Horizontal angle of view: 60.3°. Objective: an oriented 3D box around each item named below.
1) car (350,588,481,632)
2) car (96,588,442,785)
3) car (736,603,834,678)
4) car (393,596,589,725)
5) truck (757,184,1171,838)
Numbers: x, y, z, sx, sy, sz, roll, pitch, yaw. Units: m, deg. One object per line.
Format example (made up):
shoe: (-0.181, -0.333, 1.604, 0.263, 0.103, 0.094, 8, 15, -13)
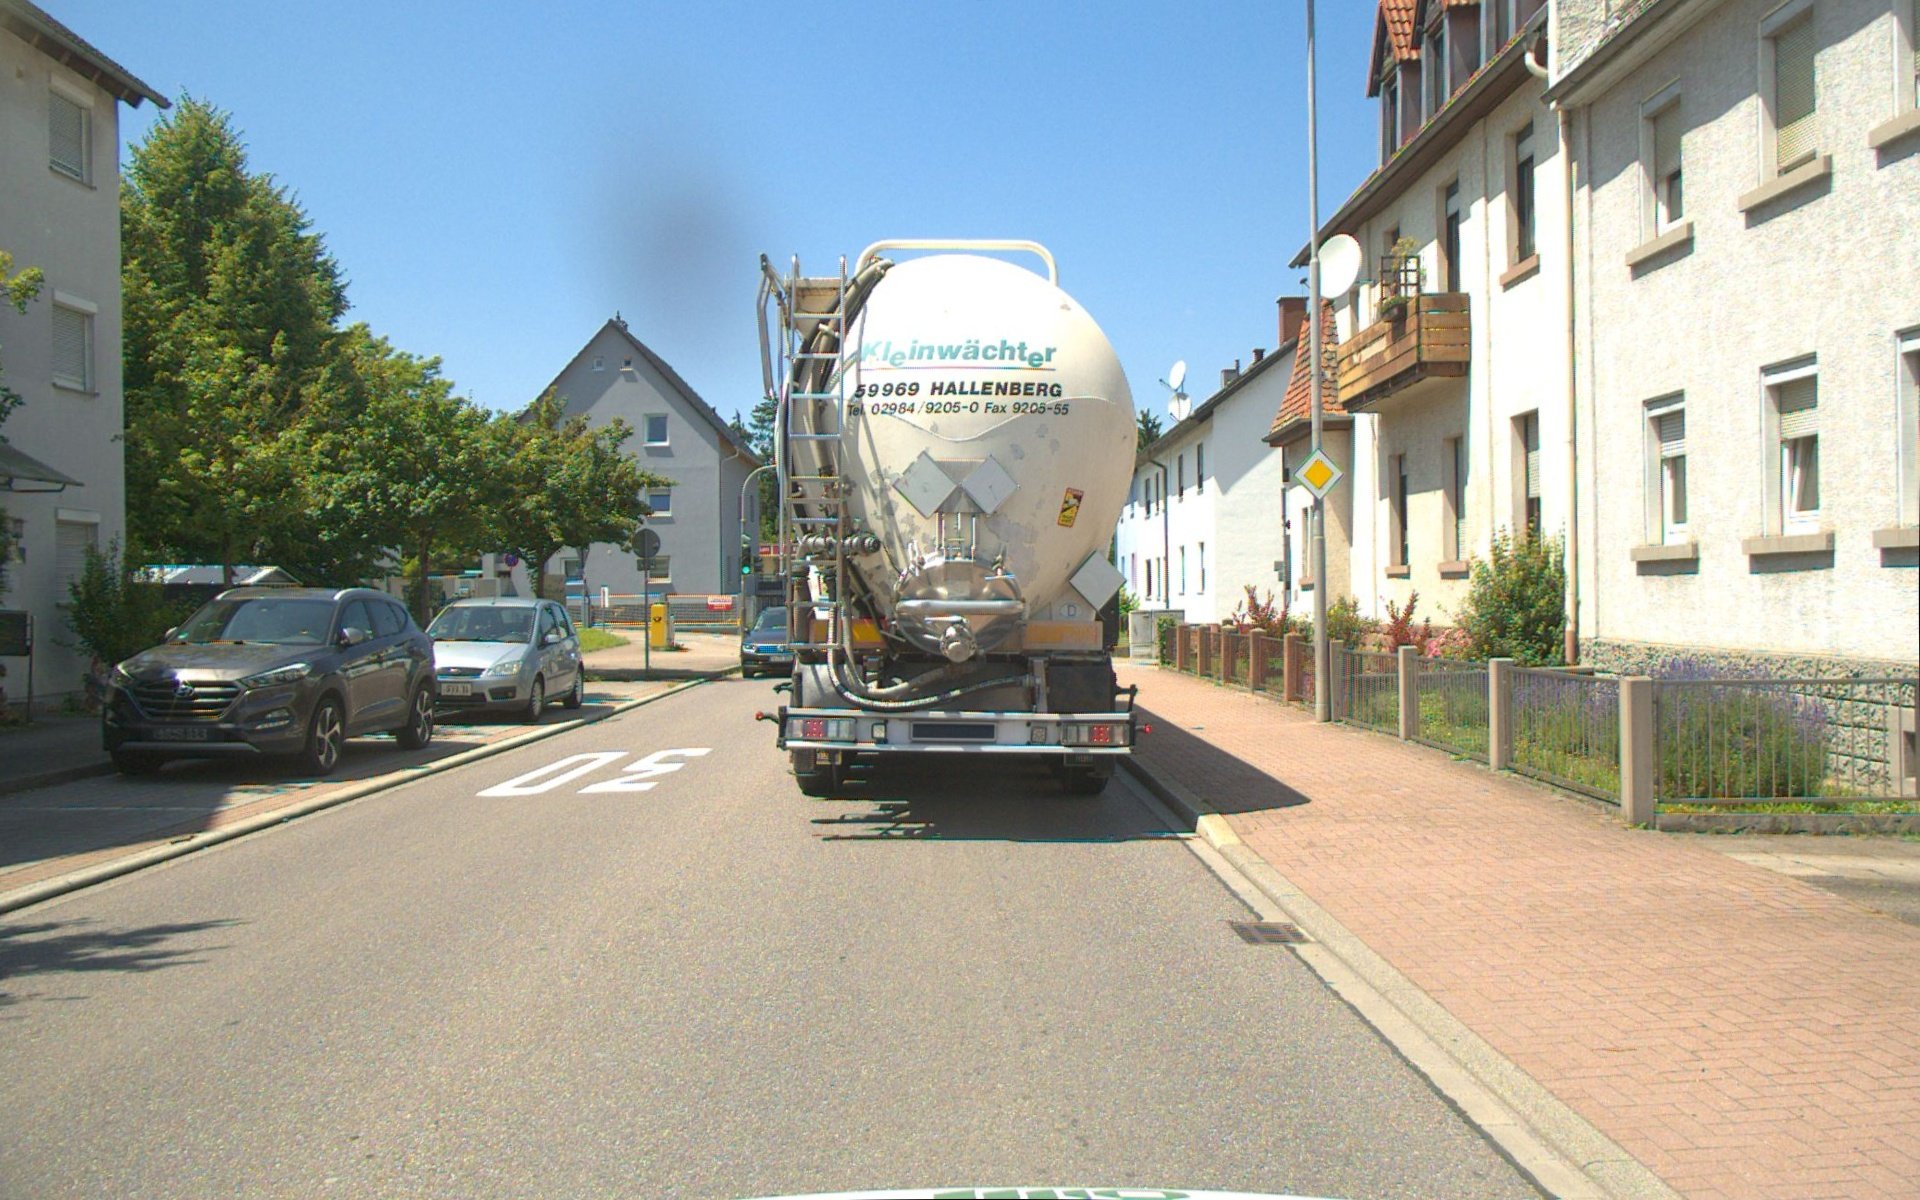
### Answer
car: (-21.234, 0.385, 64.593, 4.526, 1.680, 1.742, -1, 0, 7)
car: (-6.424, 0.727, 15.890, 1.657, 1.648, 3.997, 0, 0, 0)
car: (-3.743, 0.831, 36.025, 1.748, 1.481, 4.257, -1, 0, -1)
car: (-6.300, 0.761, 22.629, 1.663, 1.608, 3.836, 0, 0, -1)
truck: (-0.018, -0.553, 15.140, 2.587, 4.086, 9.559, 0, 0, -1)
